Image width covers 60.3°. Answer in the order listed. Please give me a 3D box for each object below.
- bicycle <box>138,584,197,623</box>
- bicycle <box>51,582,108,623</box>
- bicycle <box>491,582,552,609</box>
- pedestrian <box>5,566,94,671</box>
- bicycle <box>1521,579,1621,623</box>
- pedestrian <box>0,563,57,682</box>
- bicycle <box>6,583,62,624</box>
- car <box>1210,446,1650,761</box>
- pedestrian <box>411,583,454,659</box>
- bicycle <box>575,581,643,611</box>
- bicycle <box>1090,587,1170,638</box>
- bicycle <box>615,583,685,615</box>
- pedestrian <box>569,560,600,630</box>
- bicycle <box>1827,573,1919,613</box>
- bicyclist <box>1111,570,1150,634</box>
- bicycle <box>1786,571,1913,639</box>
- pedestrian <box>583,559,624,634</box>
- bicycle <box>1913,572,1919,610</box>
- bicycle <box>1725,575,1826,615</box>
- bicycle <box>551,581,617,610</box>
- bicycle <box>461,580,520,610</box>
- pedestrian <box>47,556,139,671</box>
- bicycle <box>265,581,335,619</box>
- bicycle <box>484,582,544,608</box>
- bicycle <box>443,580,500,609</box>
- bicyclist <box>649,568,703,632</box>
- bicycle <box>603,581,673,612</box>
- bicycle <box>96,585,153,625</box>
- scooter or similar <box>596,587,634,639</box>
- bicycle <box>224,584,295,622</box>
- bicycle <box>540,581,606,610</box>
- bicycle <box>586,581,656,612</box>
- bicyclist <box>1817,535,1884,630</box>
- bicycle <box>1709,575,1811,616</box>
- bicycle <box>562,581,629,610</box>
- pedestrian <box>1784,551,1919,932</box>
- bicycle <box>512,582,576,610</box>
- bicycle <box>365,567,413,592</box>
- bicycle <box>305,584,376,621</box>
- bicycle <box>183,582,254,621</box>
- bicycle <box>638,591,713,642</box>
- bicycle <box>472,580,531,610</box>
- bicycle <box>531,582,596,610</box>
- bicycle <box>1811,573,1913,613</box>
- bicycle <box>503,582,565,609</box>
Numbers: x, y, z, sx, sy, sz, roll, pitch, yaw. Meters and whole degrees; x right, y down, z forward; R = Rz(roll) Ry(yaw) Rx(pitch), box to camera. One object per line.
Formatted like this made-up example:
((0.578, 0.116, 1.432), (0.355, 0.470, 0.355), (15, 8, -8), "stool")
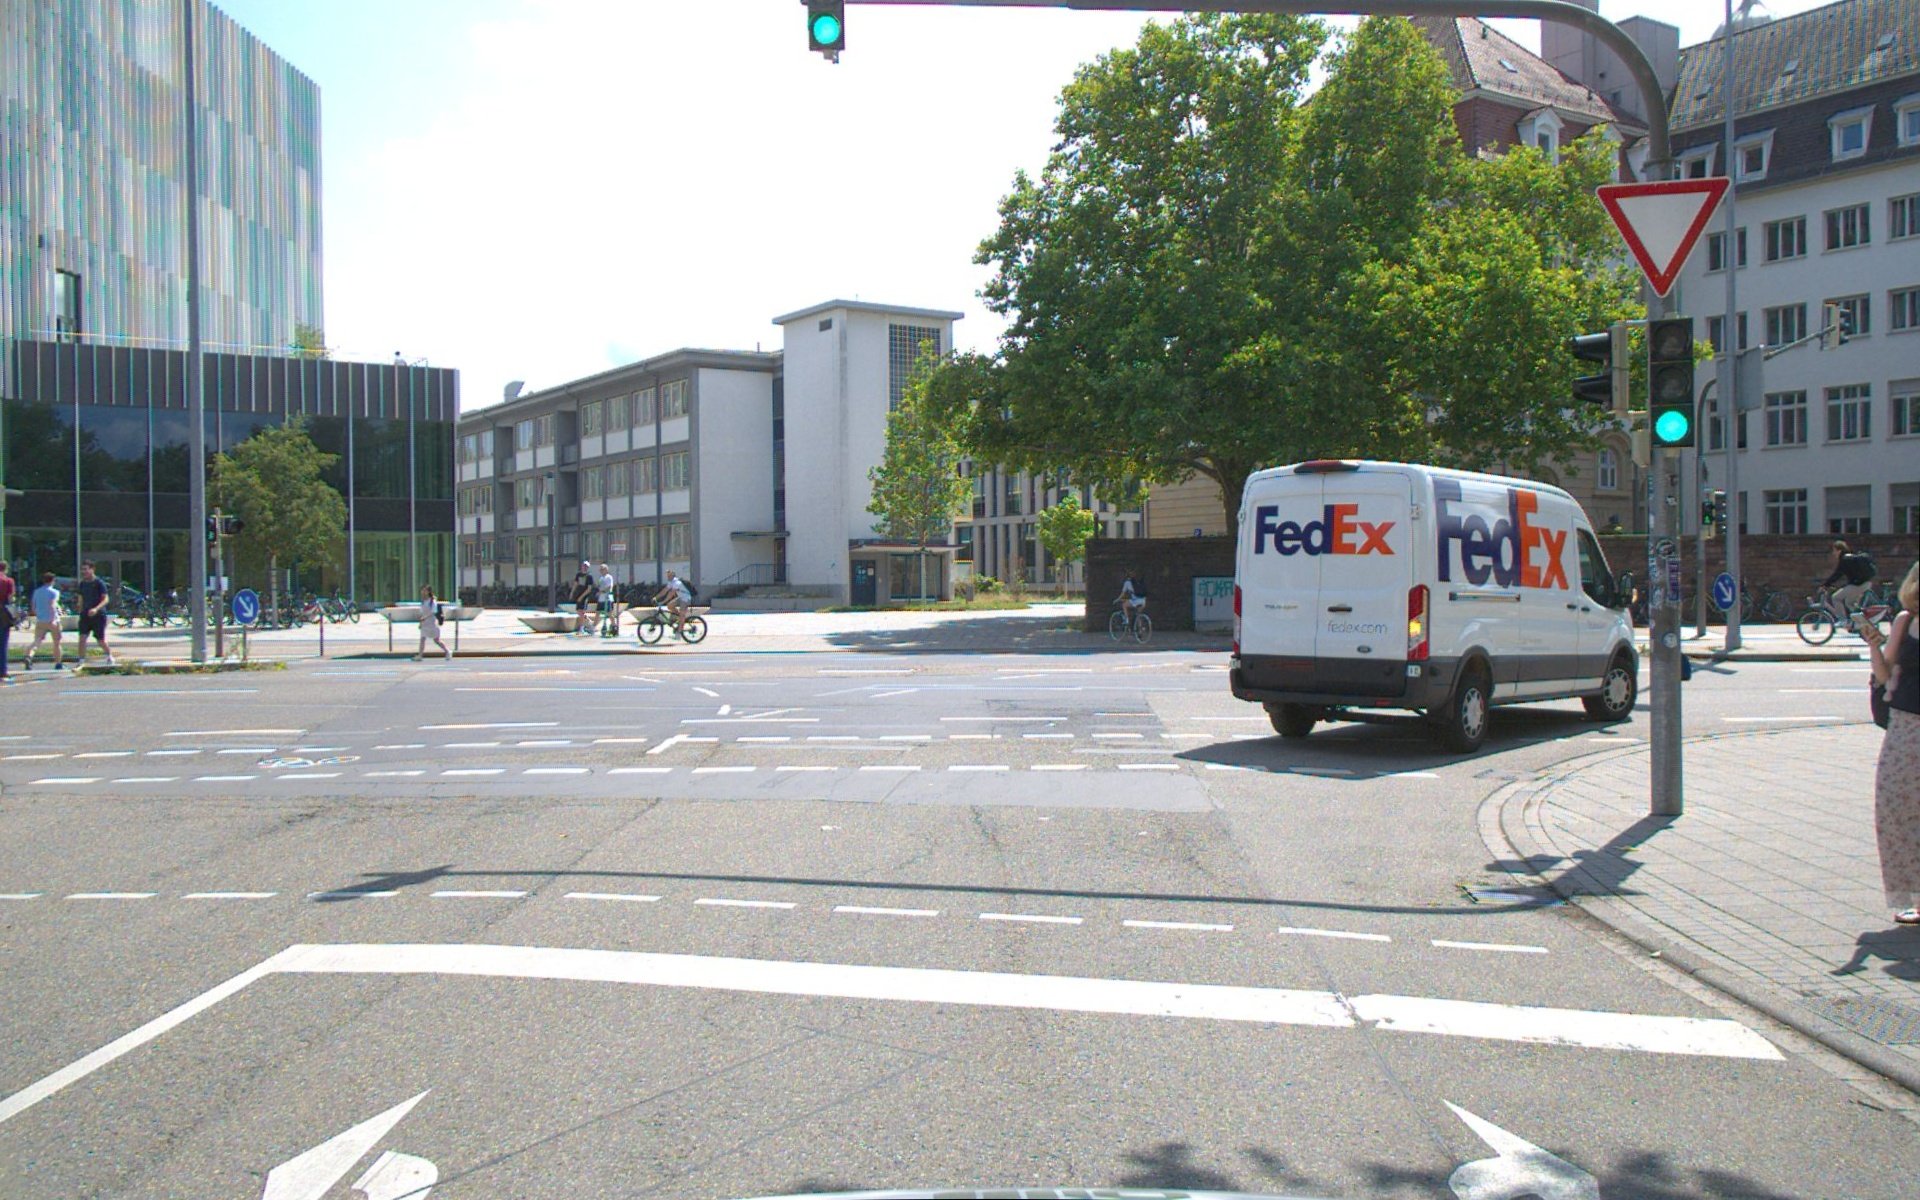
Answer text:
((-25.999, 0.101, 54.255), (1.188, 1.259, 2.912), (0, 0, -37), "bicycle")
((-28.103, 0.074, 52.764), (1.188, 1.259, 2.913), (0, 0, -37), "bicycle")
((-22.990, -0.261, 86.706), (2.935, 1.387, 1.102), (0, 0, -38), "bicycle")
((-16.387, 0.312, 29.783), (0.844, 1.850, 1.096), (-1, 1, 23), "pedestrian")
((15.877, 0.019, 42.999), (2.334, 1.077, 0.753), (-1, 1, -4), "bicycle")
((-15.136, 0.340, 26.187), (0.789, 1.839, 1.268), (-1, 1, 15), "pedestrian")
((-29.119, 0.097, 51.969), (1.188, 1.259, 2.913), (0, 0, -37), "bicycle")
((4.880, -0.027, 16.516), (2.064, 2.611, 5.571), (2, 2, 40), "car")
((-10.956, 0.417, 34.337), (0.812, 1.550, 0.810), (-1, 0, -20), "pedestrian")
((-16.395, -0.205, 77.257), (2.935, 1.387, 1.102), (0, 0, -38), "bicycle")
((3.962, 0.276, 38.679), (0.546, 1.150, 2.146), (-1, 1, -36), "bicycle")
((-13.855, -0.040, 73.907), (2.935, 1.387, 1.102), (0, 0, -38), "bicycle")
((-9.961, -0.133, 43.872), (0.659, 1.846, 0.810), (-1, 0, -22), "pedestrian")
((24.130, -0.186, 43.501), (2.334, 1.011, 0.724), (-1, 1, -4), "bicycle")
((3.992, 0.047, 38.651), (0.510, 1.477, 0.776), (-1, 0, -37), "bicyclist")
((16.284, 0.085, 30.316), (0.675, 1.205, 1.961), (-1, 1, -37), "bicycle")
((-9.315, -0.094, 43.249), (0.854, 1.922, 0.906), (-1, 0, -25), "pedestrian")
((26.572, -0.252, 43.739), (2.334, 1.011, 0.753), (-1, 1, -4), "bicycle")
((21.290, -0.141, 43.192), (2.334, 1.011, 0.696), (-1, 1, -4), "bicycle")
((-18.066, -0.225, 79.459), (2.935, 1.387, 1.102), (0, 0, -38), "bicycle")
((-26.079, -0.284, 91.906), (2.935, 1.602, 1.102), (0, 0, -38), "bicycle")
((-14.707, 0.212, 28.074), (0.813, 1.903, 1.084), (-1, 1, 23), "pedestrian")
((-22.578, -0.005, 56.533), (2.901, 1.259, 1.192), (0, 0, 44), "bicycle")
((-23.687, -0.268, 87.878), (2.935, 1.387, 1.102), (0, 0, -38), "bicycle")
((-27.614, -0.297, 93.511), (2.935, 1.602, 1.102), (0, 0, -38), "bicycle")
((-6.805, -0.002, 39.630), (0.832, 1.493, 1.068), (-1, 1, 22), "bicyclist")
((-14.591, -0.156, 74.998), (2.935, 1.387, 1.102), (0, 0, -38), "bicycle")
((-27.064, 0.142, 53.553), (1.188, 1.259, 2.913), (0, 0, -37), "bicycle")
((-8.678, 0.307, 41.495), (0.705, 1.198, 2.713), (-1, 1, -17), "scooter or similar")
((-23.656, 0.094, 55.797), (2.901, 1.259, 1.192), (0, 0, 44), "bicycle")
((-18.829, -0.204, 80.505), (2.935, 1.387, 1.102), (0, 0, -38), "bicycle")
((-15.627, -0.166, 76.251), (2.935, 1.387, 1.258), (0, 0, -38), "bicycle")
((16.304, -0.317, 30.270), (0.677, 1.701, 0.878), (-1, 1, -38), "bicyclist")
((20.869, -0.127, 43.160), (2.334, 1.011, 0.753), (-1, 1, -4), "bicycle")
((-17.283, -0.220, 78.411), (2.935, 1.387, 1.102), (0, 0, -38), "bicycle")
((4.272, 0.589, 7.414), (0.715, 1.603, 0.776), (-3, 0, 4), "pedestrian")
((-20.968, -0.221, 83.402), (2.935, 1.387, 1.102), (0, 0, -38), "bicycle")
((-36.230, -1.283, 104.926), (1.093, 1.602, 2.963), (0, 0, 26), "bicycle")
((-21.432, 0.065, 57.207), (2.901, 1.259, 1.192), (0, 0, 44), "bicycle")
((-24.623, 0.036, 54.871), (2.901, 1.259, 1.192), (0, 0, 44), "bicycle")
((-6.805, 0.384, 39.627), (0.830, 1.165, 1.995), (0, 1, 22), "bicycle")
((-25.126, -0.274, 90.631), (2.935, 1.602, 1.102), (0, 0, -38), "bicycle")
((-19.551, -0.206, 81.520), (2.935, 1.387, 1.102), (0, 0, -38), "bicycle")
((23.695, -0.196, 43.468), (2.334, 1.011, 0.753), (-1, 1, -4), "bicycle")
((-21.861, -0.232, 84.876), (2.935, 1.387, 1.102), (0, 0, -38), "bicycle")
